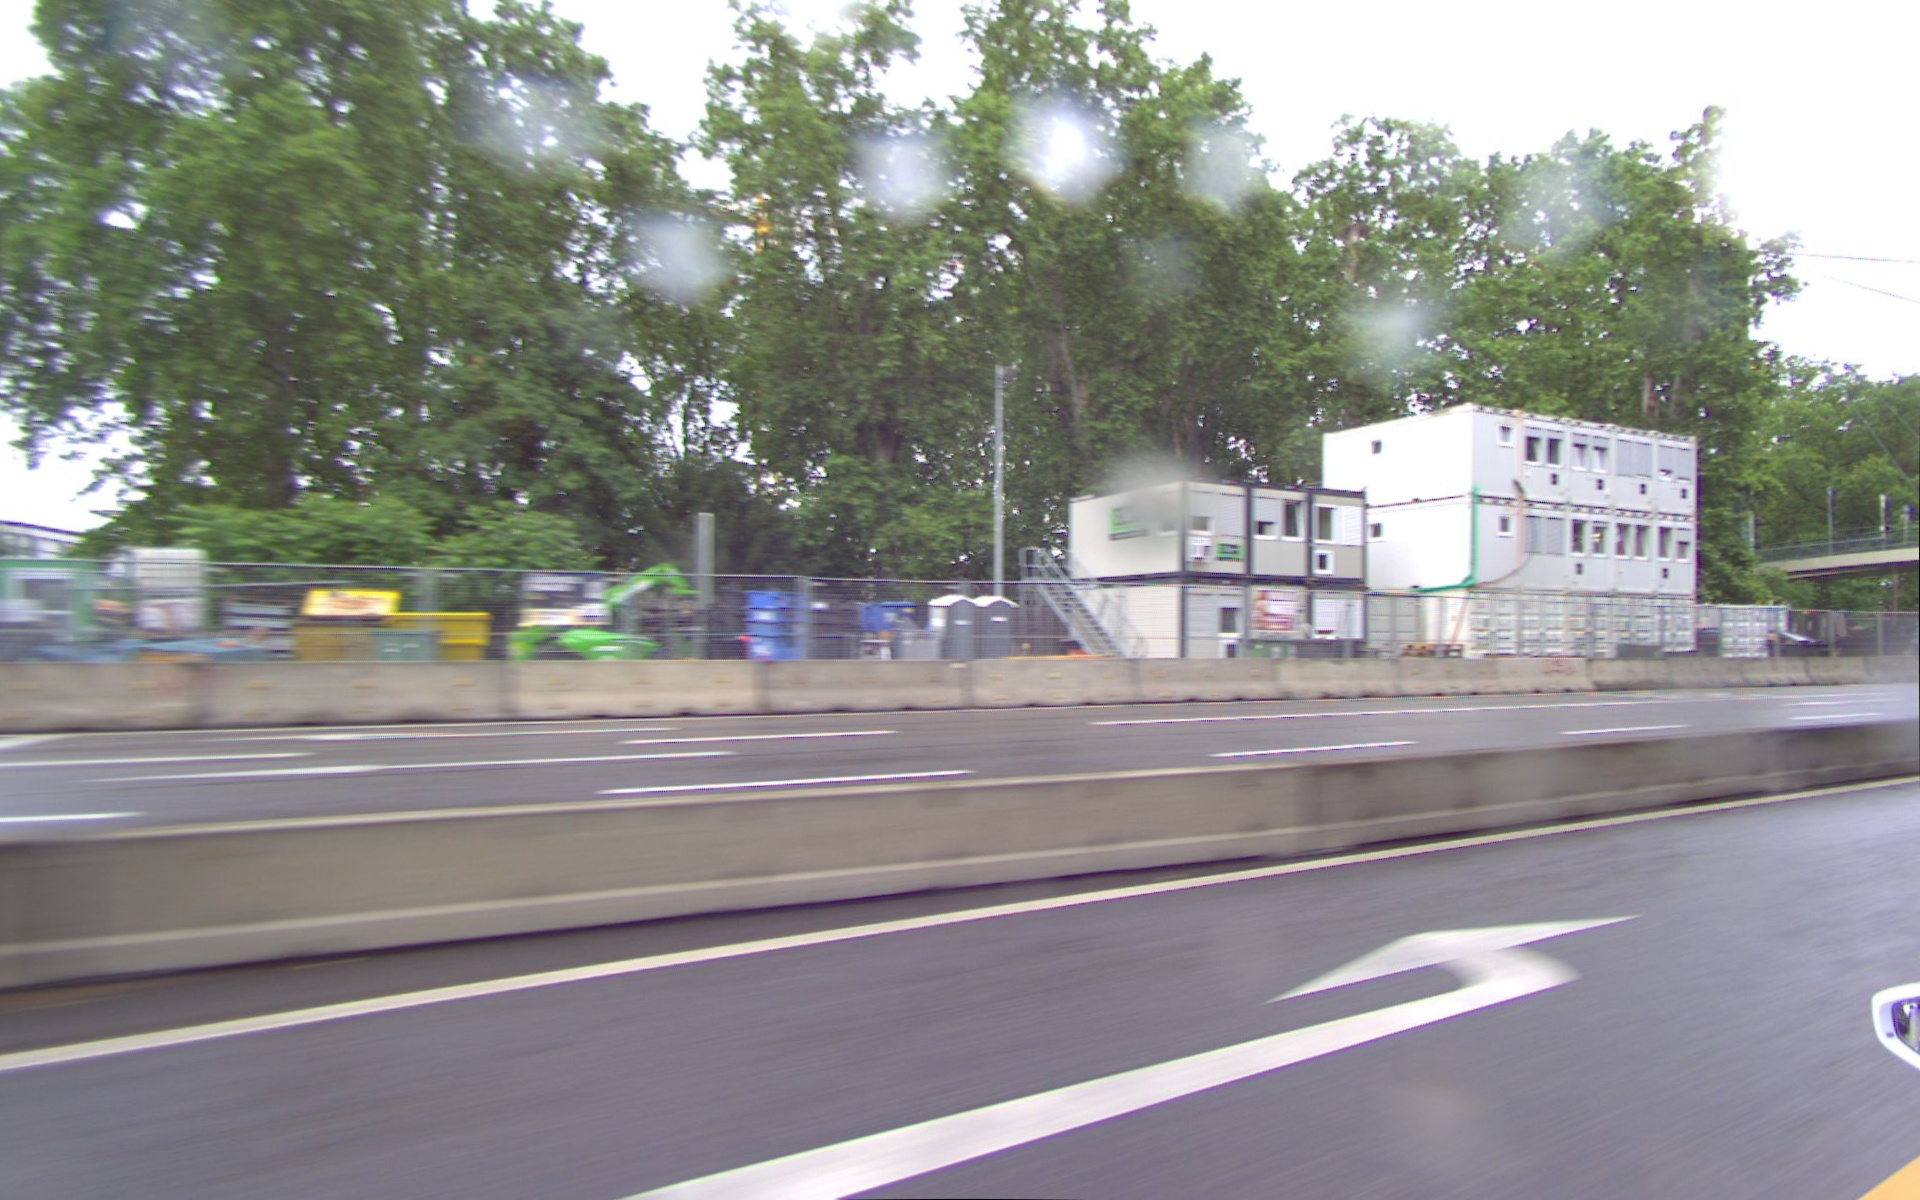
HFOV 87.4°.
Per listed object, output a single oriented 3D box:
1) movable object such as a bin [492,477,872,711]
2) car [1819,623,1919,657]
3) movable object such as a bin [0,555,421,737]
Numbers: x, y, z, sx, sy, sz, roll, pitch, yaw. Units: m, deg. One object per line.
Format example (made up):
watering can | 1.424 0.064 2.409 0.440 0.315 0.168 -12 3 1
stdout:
movable object such as a bin | -6.885 0.043 24.816 8.253 4.866 4.733 2 -2 -27
car | 46.800 2.013 51.084 1.938 1.649 4.397 1 -2 -33
movable object such as a bin | -14.809 0.945 20.713 6.307 3.169 3.918 2 -2 -27
